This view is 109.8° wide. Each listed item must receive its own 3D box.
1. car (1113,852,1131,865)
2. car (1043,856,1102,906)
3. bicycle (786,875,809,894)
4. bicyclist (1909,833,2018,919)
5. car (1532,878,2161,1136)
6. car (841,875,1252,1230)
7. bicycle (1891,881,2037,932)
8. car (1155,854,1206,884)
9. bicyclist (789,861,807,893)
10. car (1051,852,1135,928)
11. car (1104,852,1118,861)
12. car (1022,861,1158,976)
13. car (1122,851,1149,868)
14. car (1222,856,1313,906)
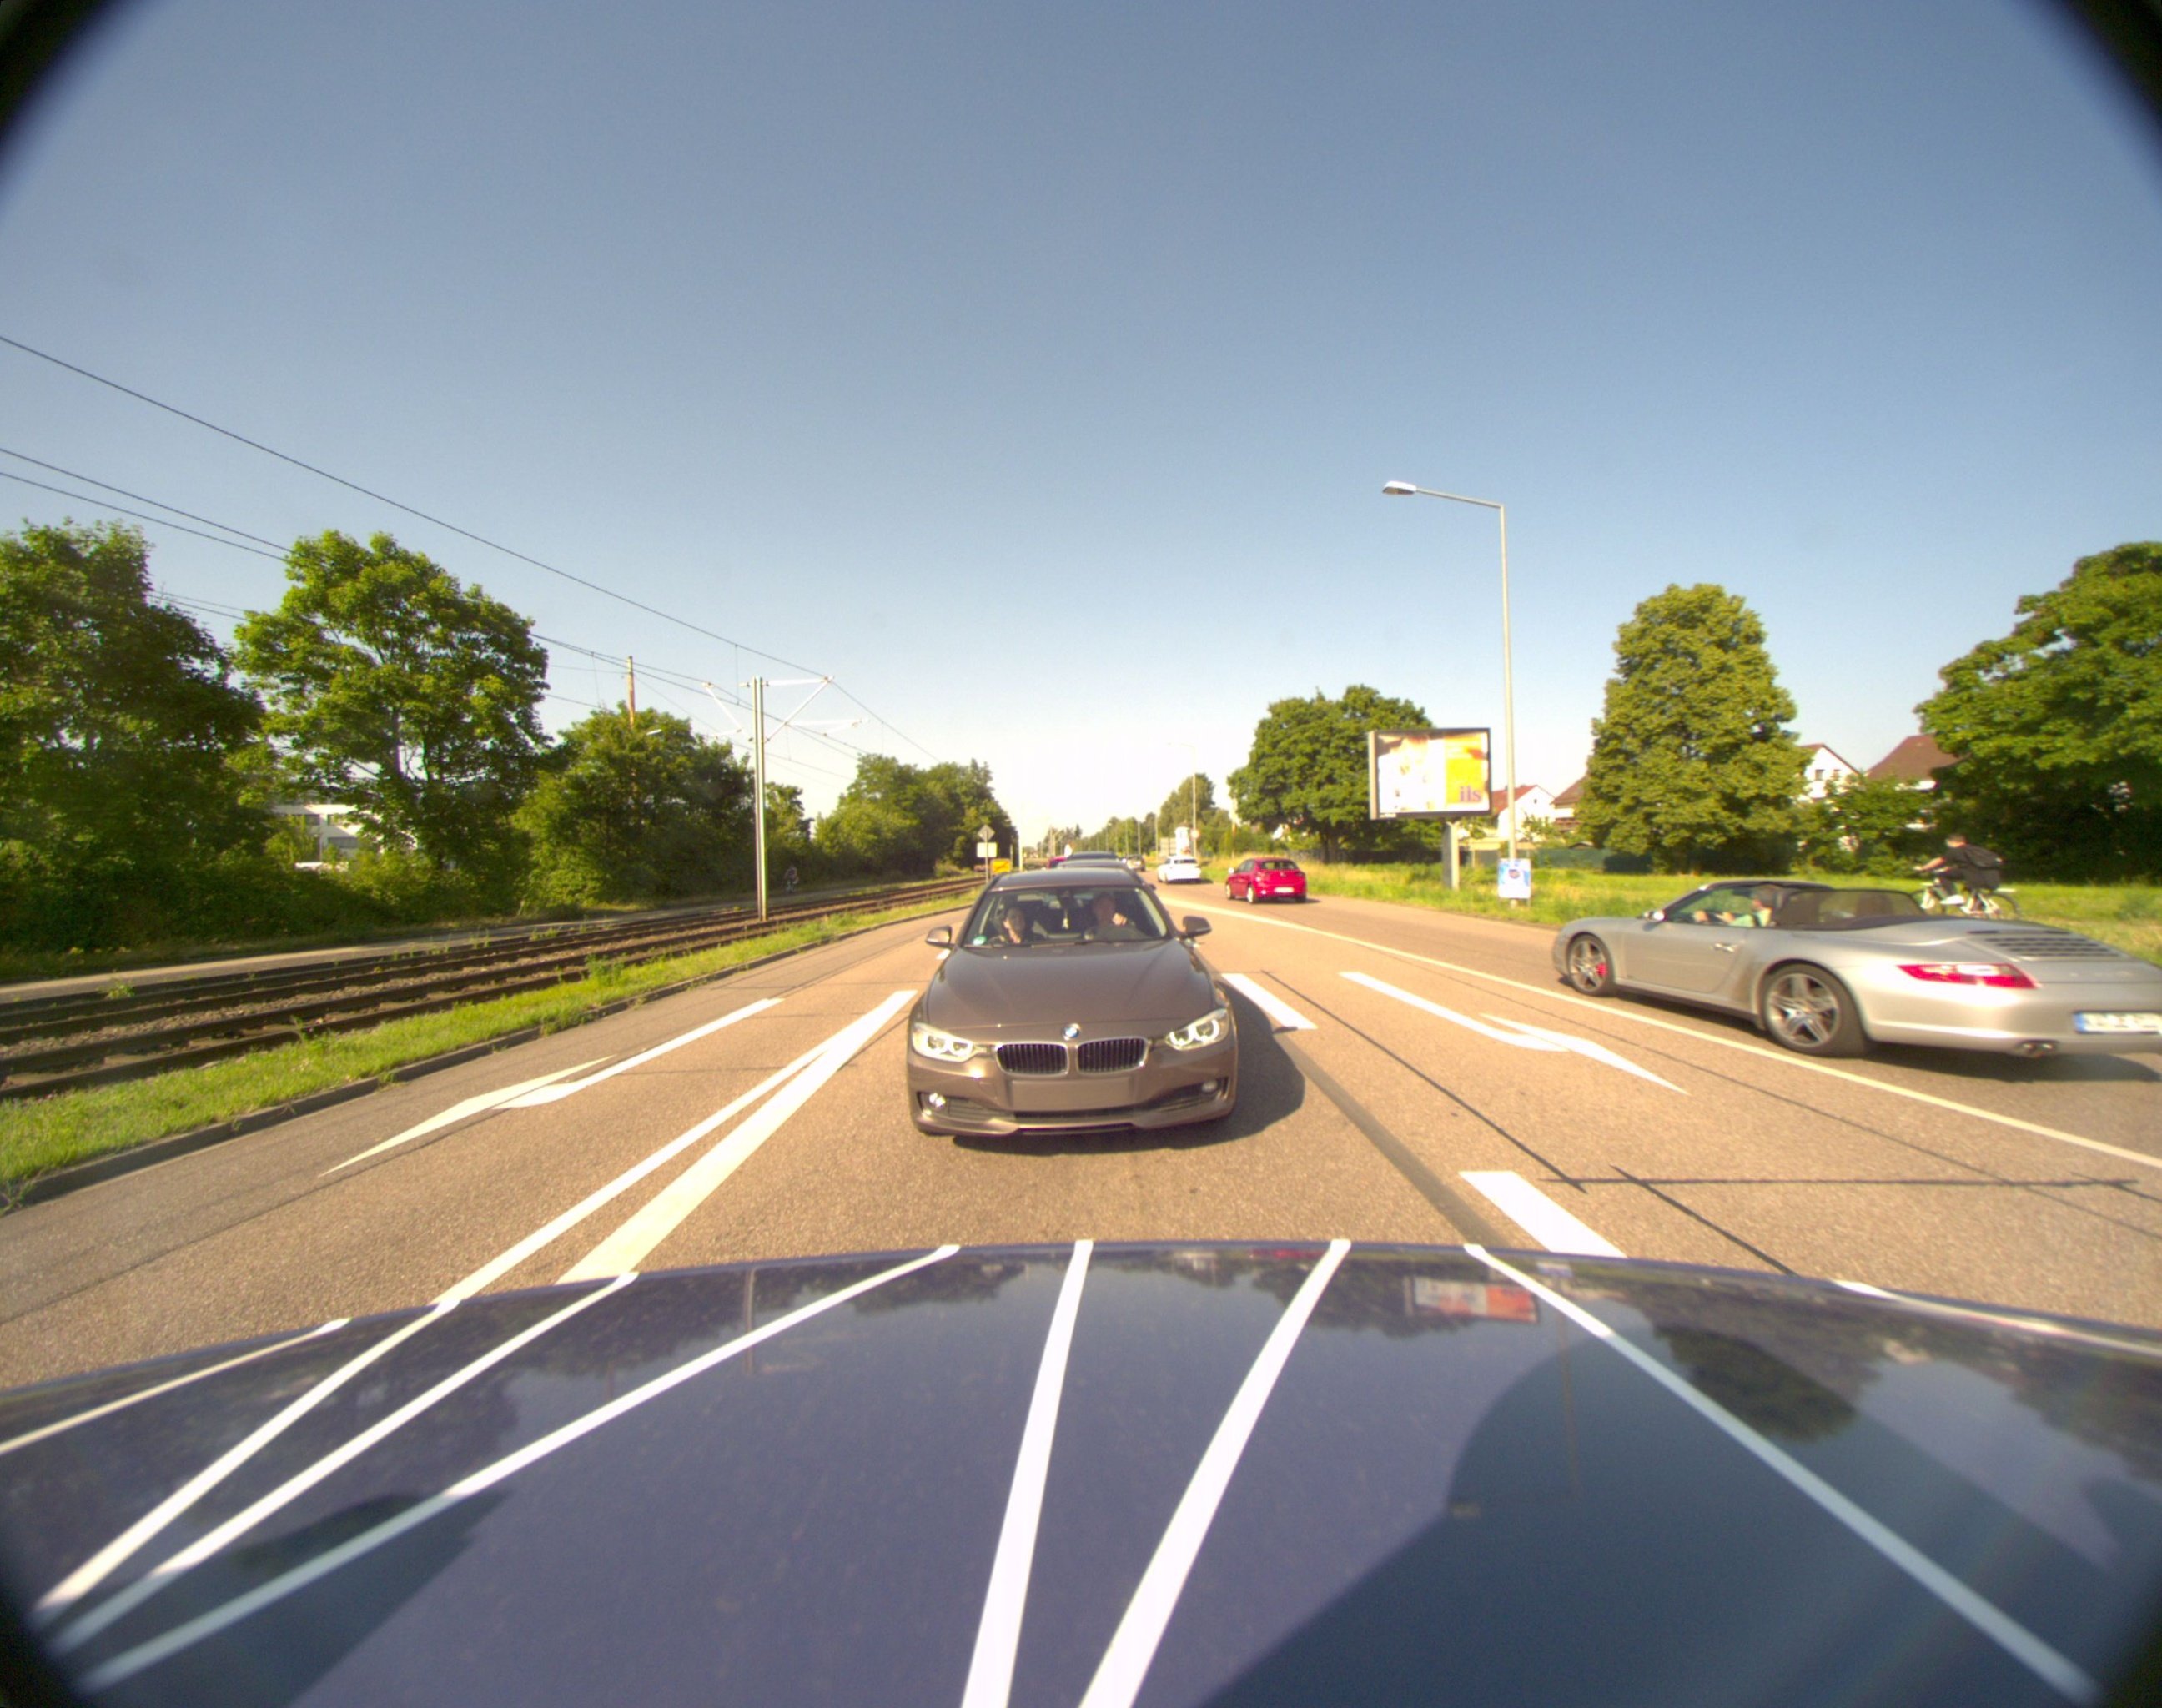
[{"bbox_3d":[5.043,0.552,94.844,1.784,1.469,4.285,-1,0,-3],"label":"car"},{"bbox_3d":[-0.241,0.861,25.986,1.807,1.498,4.197,-1,0,0],"label":"car"},{"bbox_3d":[-16.398,1.760,43.967,0.547,1.041,1.874,-1,0,1],"label":"bicycle"},{"bbox_3d":[15.286,0.371,13.192,0.638,1.420,1.072,-1,0,2],"label":"bicyclist"},{"bbox_3d":[6.036,0.948,6.515,1.784,1.302,4.286,-1,0,0],"label":"car"},{"bbox_3d":[-0.129,0.975,5.704,1.821,1.416,4.461,-2,0,1],"label":"car"},{"bbox_3d":[15.277,0.876,13.223,0.455,0.749,1.834,-1,0,2],"label":"bicycle"},{"bbox_3d":[5.147,0.734,39.813,1.784,1.469,4.271,-1,0,-4],"label":"car"},{"bbox_3d":[-16.416,1.328,44.022,0.708,1.797,0.717,-1,1,1],"label":"bicyclist"},{"bbox_3d":[0.290,0.800,19.428,1.821,1.641,4.611,-2,0,0],"label":"car"},{"bbox_3d":[4.863,0.373,122.962,1.784,1.469,4.285,-1,0,-3],"label":"car"},{"bbox_3d":[0.142,0.900,12.652,1.821,1.481,4.611,-1,0,0],"label":"car"},{"bbox_3d":[4.897,0.523,68.920,1.784,1.469,4.285,-1,0,-4],"label":"car"},{"bbox_3d":[5.912,0.815,24.581,1.784,1.469,3.913,0,0,-4],"label":"car"}]
